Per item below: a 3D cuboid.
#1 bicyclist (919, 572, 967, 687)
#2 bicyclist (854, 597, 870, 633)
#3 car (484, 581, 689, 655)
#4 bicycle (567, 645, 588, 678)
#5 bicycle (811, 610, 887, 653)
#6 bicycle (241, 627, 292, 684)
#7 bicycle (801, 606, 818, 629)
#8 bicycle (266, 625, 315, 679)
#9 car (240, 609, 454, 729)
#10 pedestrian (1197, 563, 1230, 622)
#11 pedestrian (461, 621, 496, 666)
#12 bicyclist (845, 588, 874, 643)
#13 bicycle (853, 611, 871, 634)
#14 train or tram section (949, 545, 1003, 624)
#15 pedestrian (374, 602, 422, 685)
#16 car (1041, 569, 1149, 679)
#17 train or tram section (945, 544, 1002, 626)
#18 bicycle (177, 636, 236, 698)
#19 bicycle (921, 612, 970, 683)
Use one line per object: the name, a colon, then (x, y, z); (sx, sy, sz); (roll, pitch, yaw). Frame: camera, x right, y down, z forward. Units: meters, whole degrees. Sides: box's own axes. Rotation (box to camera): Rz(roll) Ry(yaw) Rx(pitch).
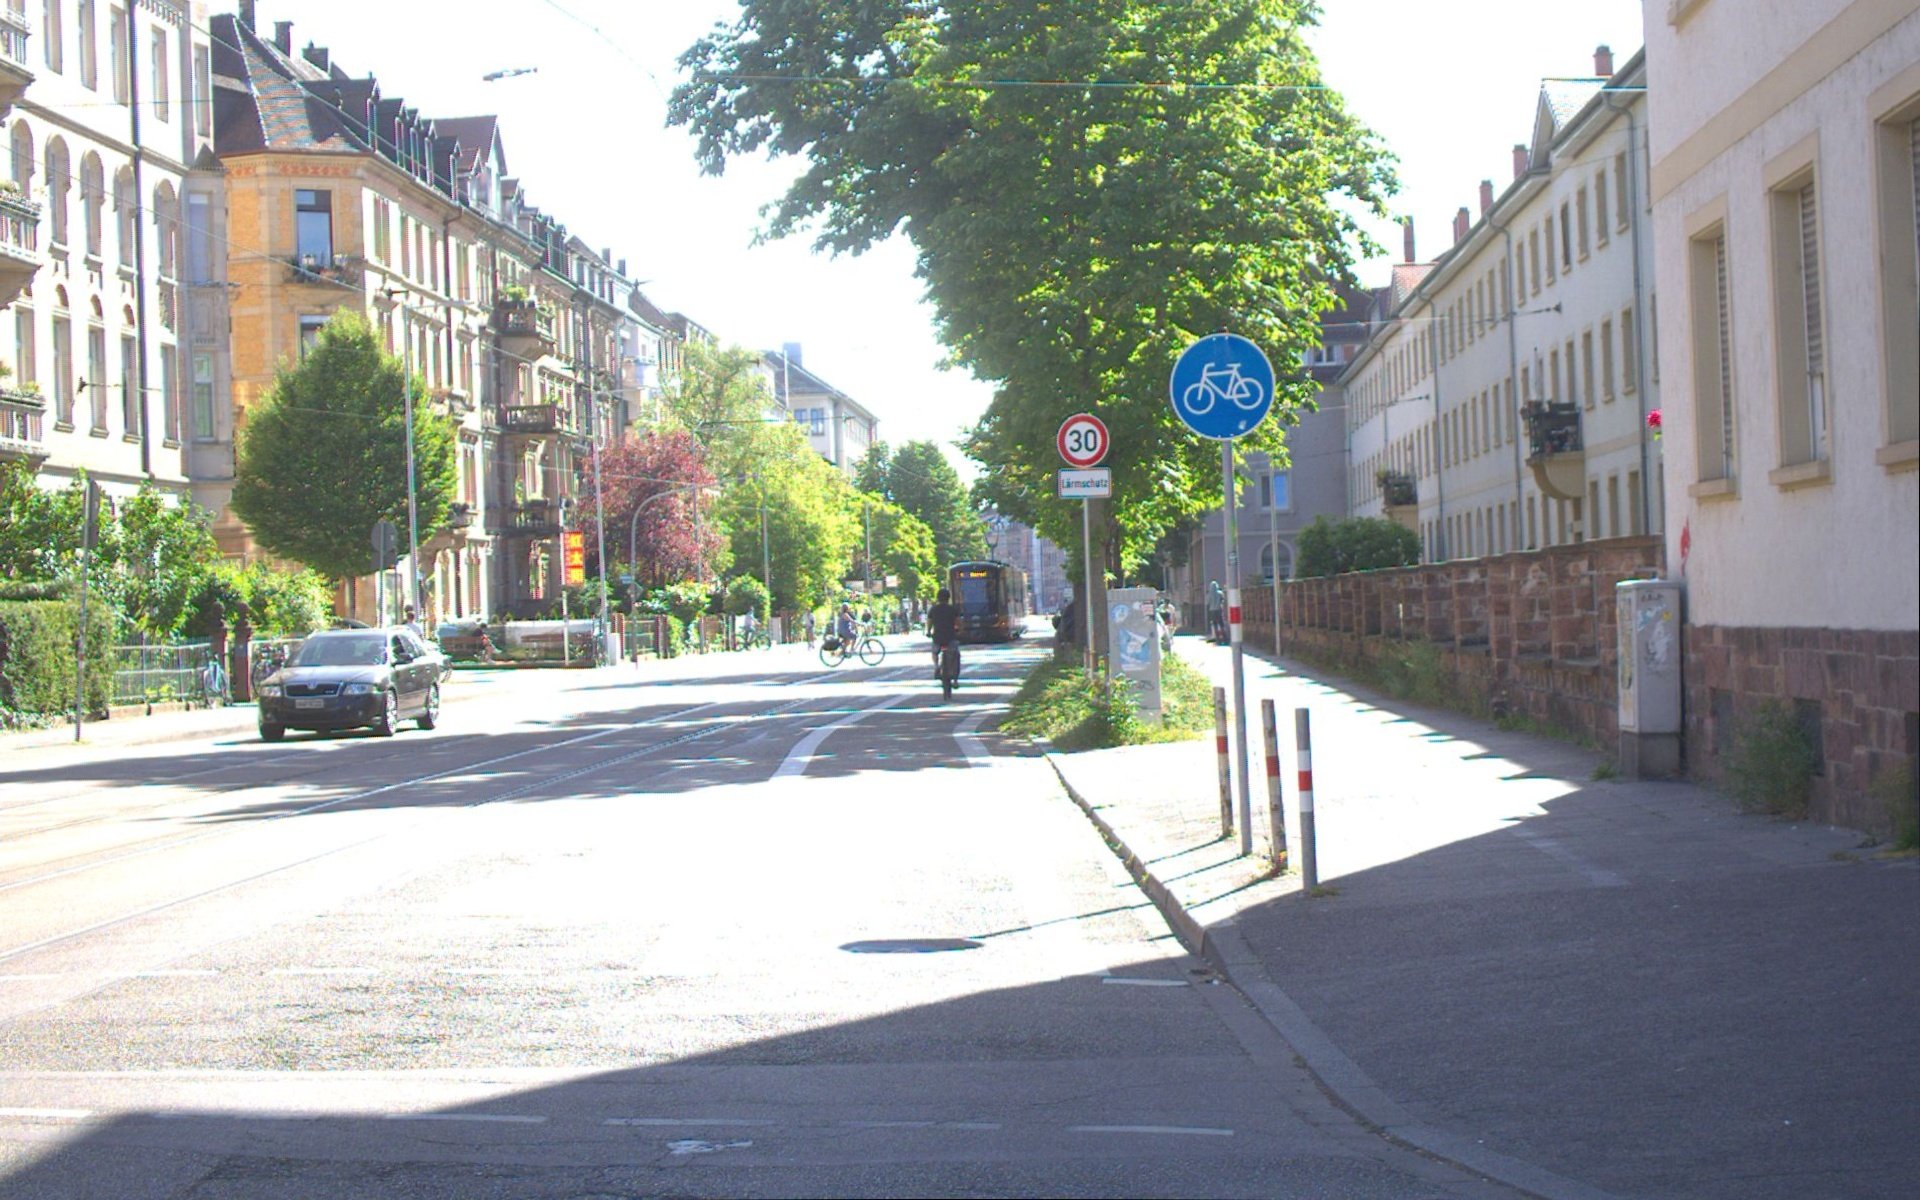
bicyclist: (-0.280, 0.477, 56.025); (0.727, 1.842, 0.836); (-1, 0, 2)
bicyclist: (-4.935, 0.764, 172.952); (0.660, 1.795, 0.616); (-4, -1, 3)
car: (-8.689, 0.416, 80.145); (4.446, 1.638, 1.966); (-1, 0, 5)
bicycle: (-11.945, 1.918, 107.348); (0.335, 0.997, 1.869); (-1, 0, 3)
bicycle: (-2.970, 0.835, 91.989); (1.910, 1.109, 0.694); (-1, 0, -19)
bicycle: (-13.140, 1.048, 65.175); (0.563, 1.030, 1.767); (-1, 0, 2)
bicycle: (-6.336, 0.714, 144.432); (0.460, 0.923, 2.202); (-3, 0, 3)
bicycle: (-13.111, 1.011, 67.345); (0.563, 1.030, 1.767); (-1, 0, 2)
car: (-8.367, 0.911, 47.324); (1.832, 1.513, 4.966); (0, 0, 3)
pedestrian: (7.437, -0.229, 100.676); (0.764, 1.718, 0.579); (-1, 0, 32)
pedestrian: (-15.026, 1.351, 107.292); (0.901, 1.348, 0.577); (-4, 0, 4)
bicyclist: (-2.700, 0.412, 92.124); (0.613, 1.463, 0.637); (-1, 0, -18)
bicycle: (-4.933, 1.121, 172.881); (0.692, 1.108, 1.718); (-3, 0, 3)
train or tram section: (0.744, -0.685, 153.396); (2.153, 3.420, 6.610); (-1, 0, 2)
pedestrian: (-11.812, 0.911, 72.236); (0.829, 1.718, 1.082); (-1, -1, -1)
car: (2.265, 0.380, 58.226); (1.744, 1.760, 4.477); (-1, 0, 2)
train or tram section: (0.595, -0.637, 146.755); (2.153, 3.420, 6.610); (-1, 0, 2)
bicycle: (-13.389, 1.184, 61.133); (0.563, 1.030, 1.767); (0, 1, 3)
bicycle: (-0.229, 0.765, 55.898); (0.692, 1.109, 1.718); (-1, 0, 3)
